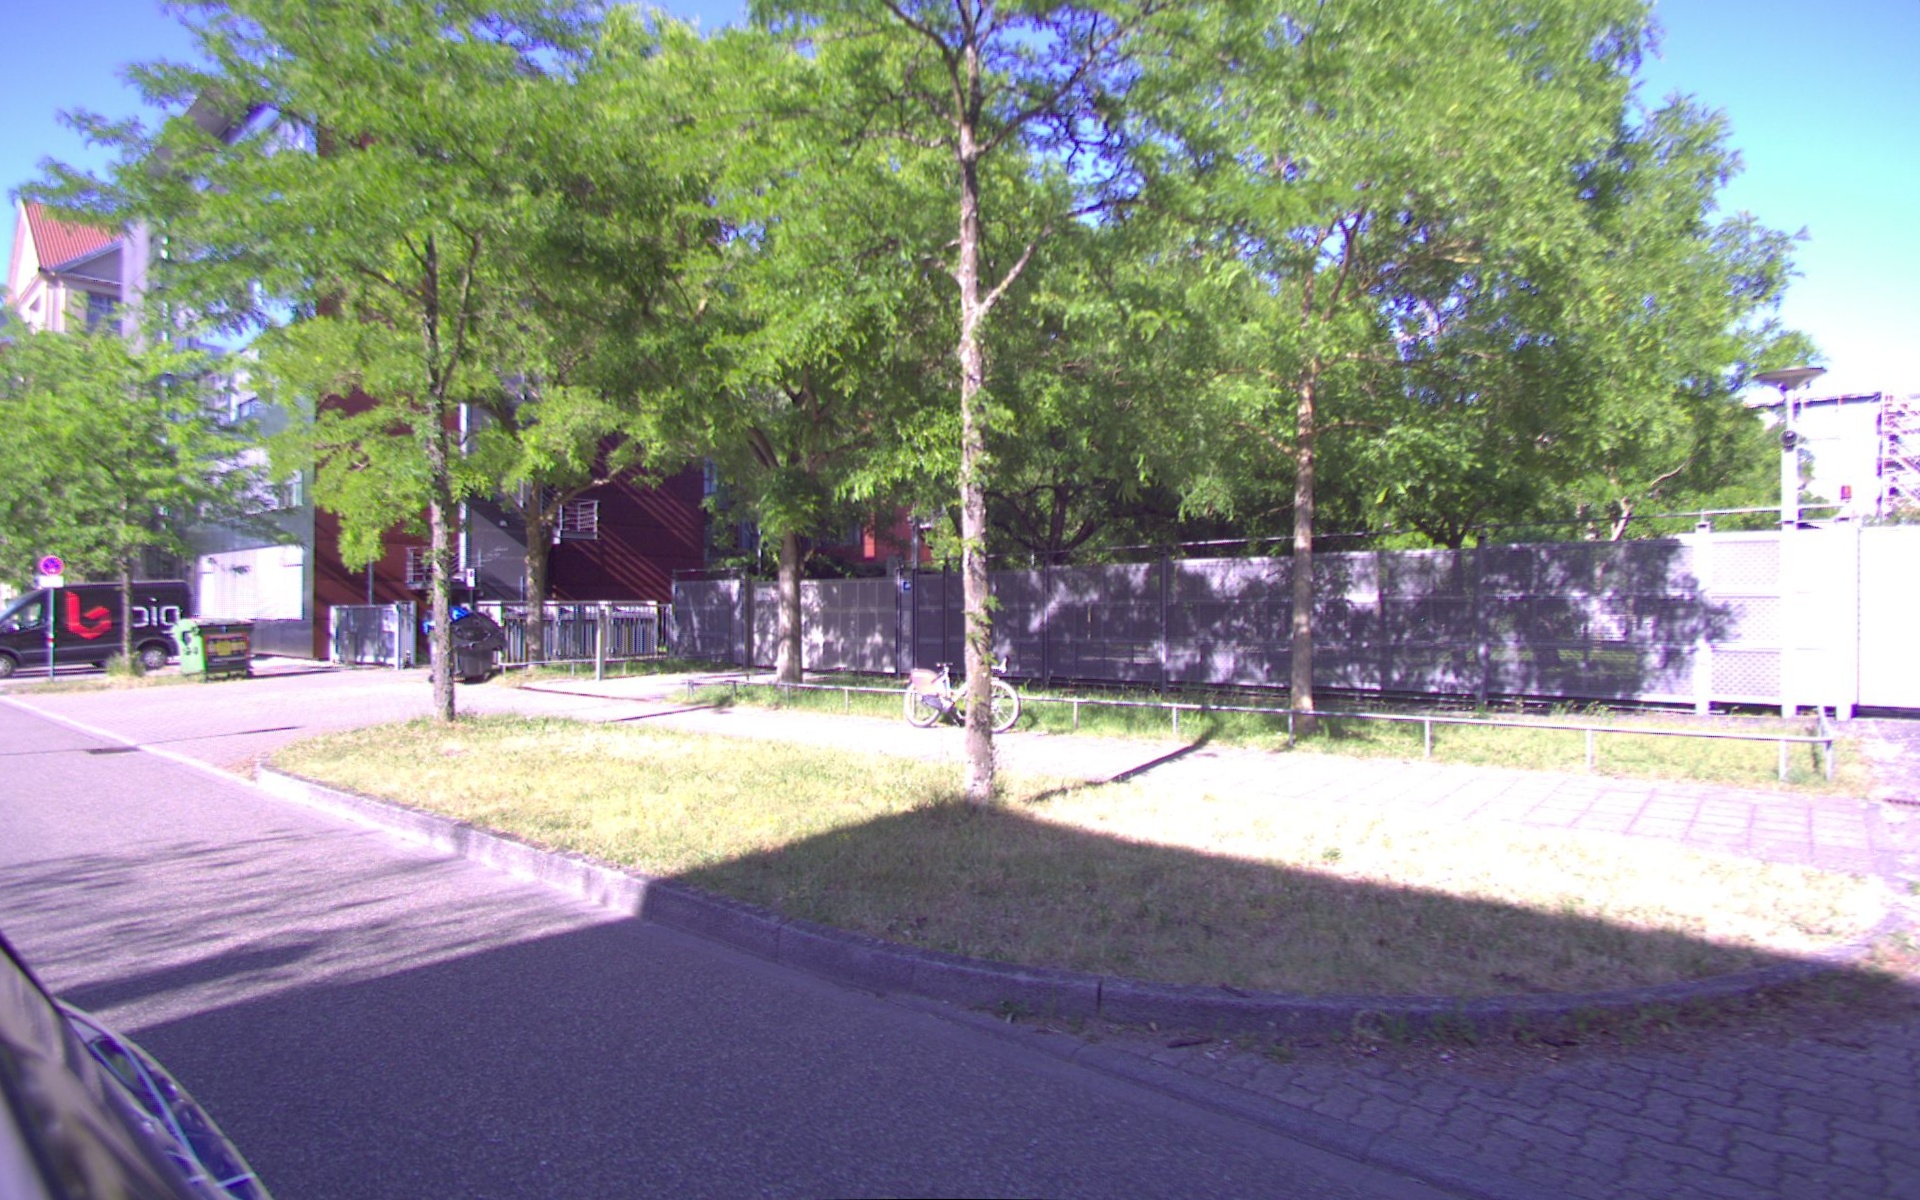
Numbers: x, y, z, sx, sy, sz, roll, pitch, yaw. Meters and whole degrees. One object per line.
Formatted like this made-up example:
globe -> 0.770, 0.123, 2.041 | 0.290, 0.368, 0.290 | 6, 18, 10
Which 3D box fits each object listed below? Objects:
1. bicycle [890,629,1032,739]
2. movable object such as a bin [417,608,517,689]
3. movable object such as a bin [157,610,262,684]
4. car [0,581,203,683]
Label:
bicycle -> -0.014, 0.957, 12.075 | 1.727, 1.201, 0.594 | -1, -1, 41
movable object such as a bin -> -10.259, 0.983, 21.060 | 1.502, 1.580, 1.347 | -1, -1, -45
movable object such as a bin -> -16.899, 1.028, 22.814 | 1.342, 1.580, 1.508 | -1, 0, 31
car -> -24.490, 0.825, 27.927 | 1.985, 2.560, 5.421 | -1, 1, 39
